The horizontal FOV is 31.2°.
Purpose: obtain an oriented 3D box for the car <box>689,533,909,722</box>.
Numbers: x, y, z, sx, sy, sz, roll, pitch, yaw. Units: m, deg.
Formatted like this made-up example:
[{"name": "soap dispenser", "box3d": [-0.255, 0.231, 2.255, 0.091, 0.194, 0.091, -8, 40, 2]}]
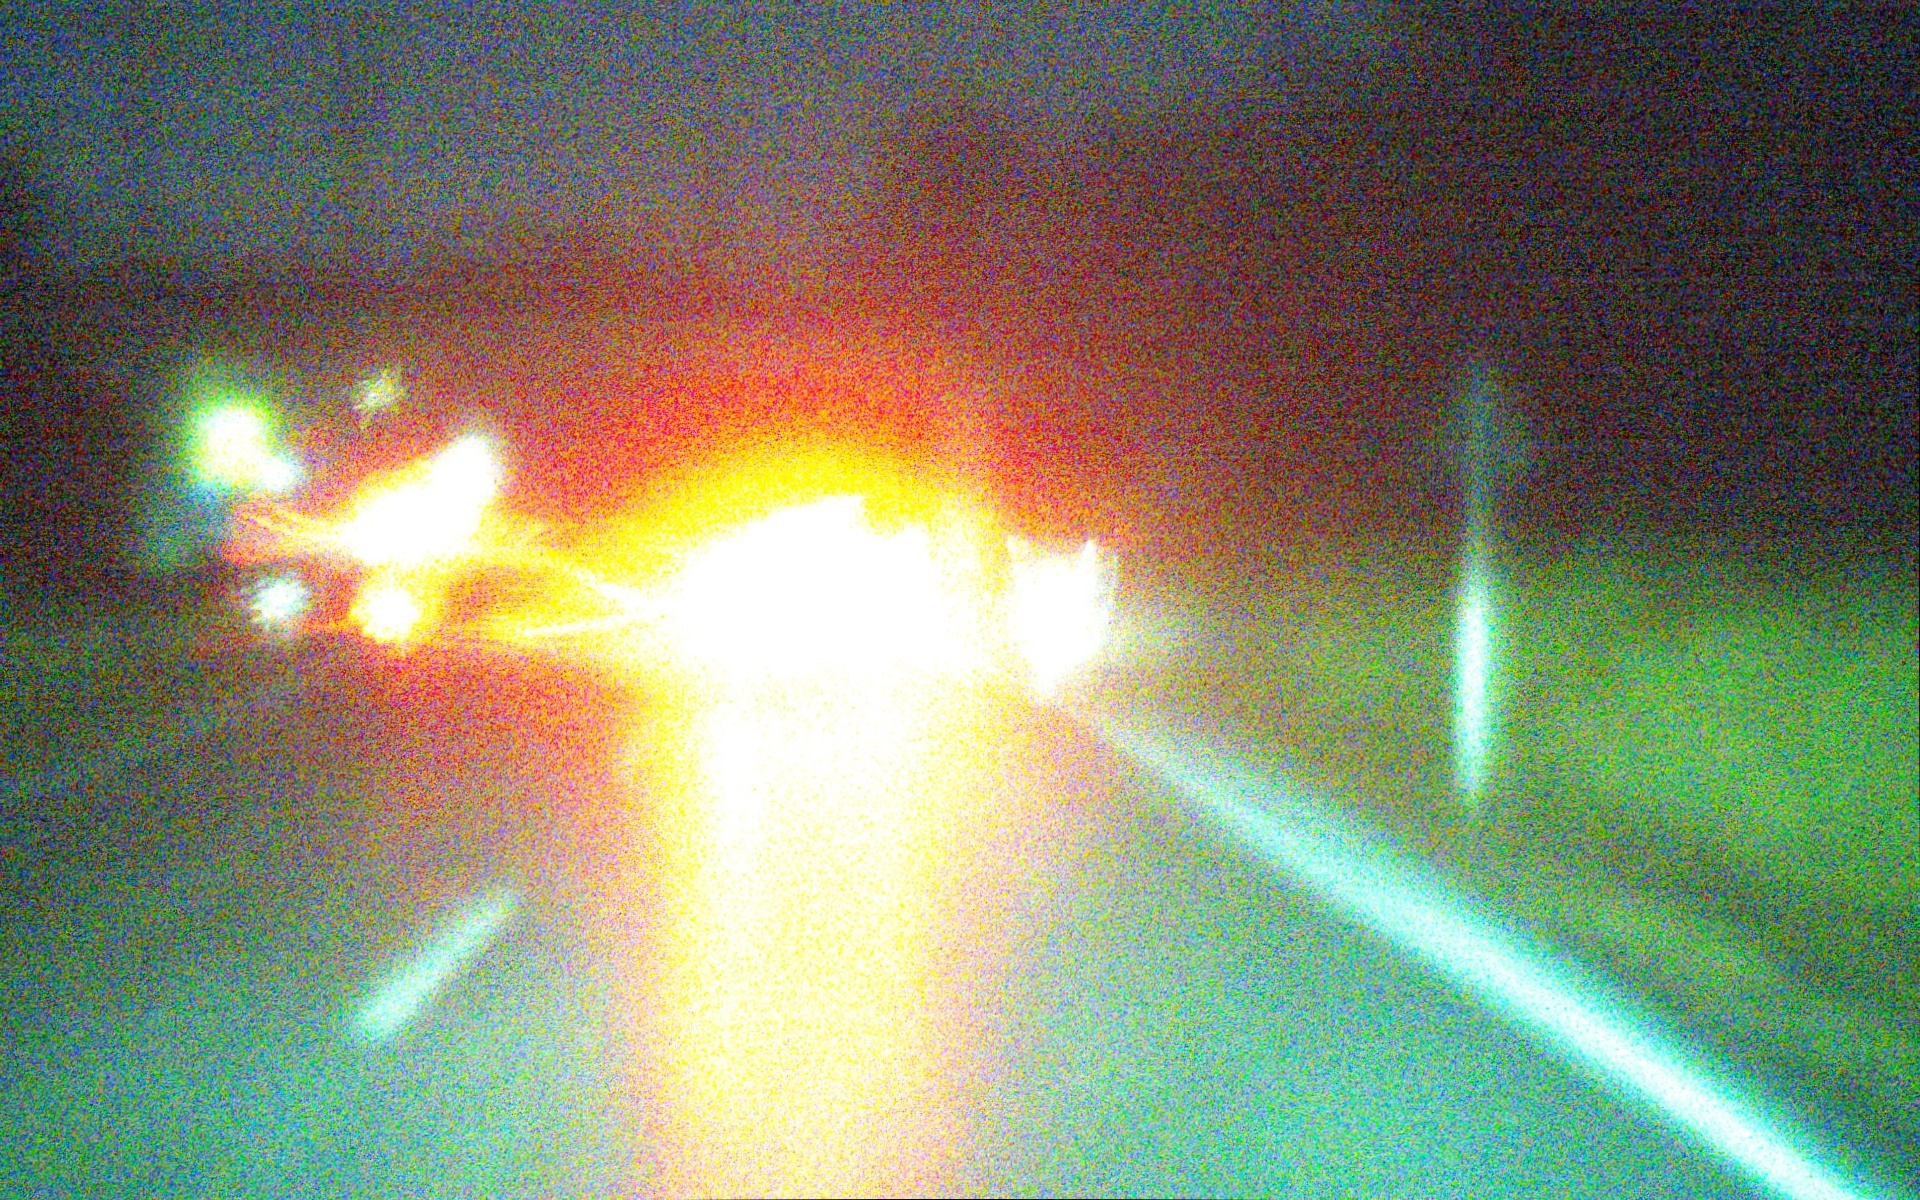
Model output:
[{"name": "car", "box3d": [-1.619, 0.206, 33.922, 1.993, 1.622, 4.985, 1, 2, -3]}]
